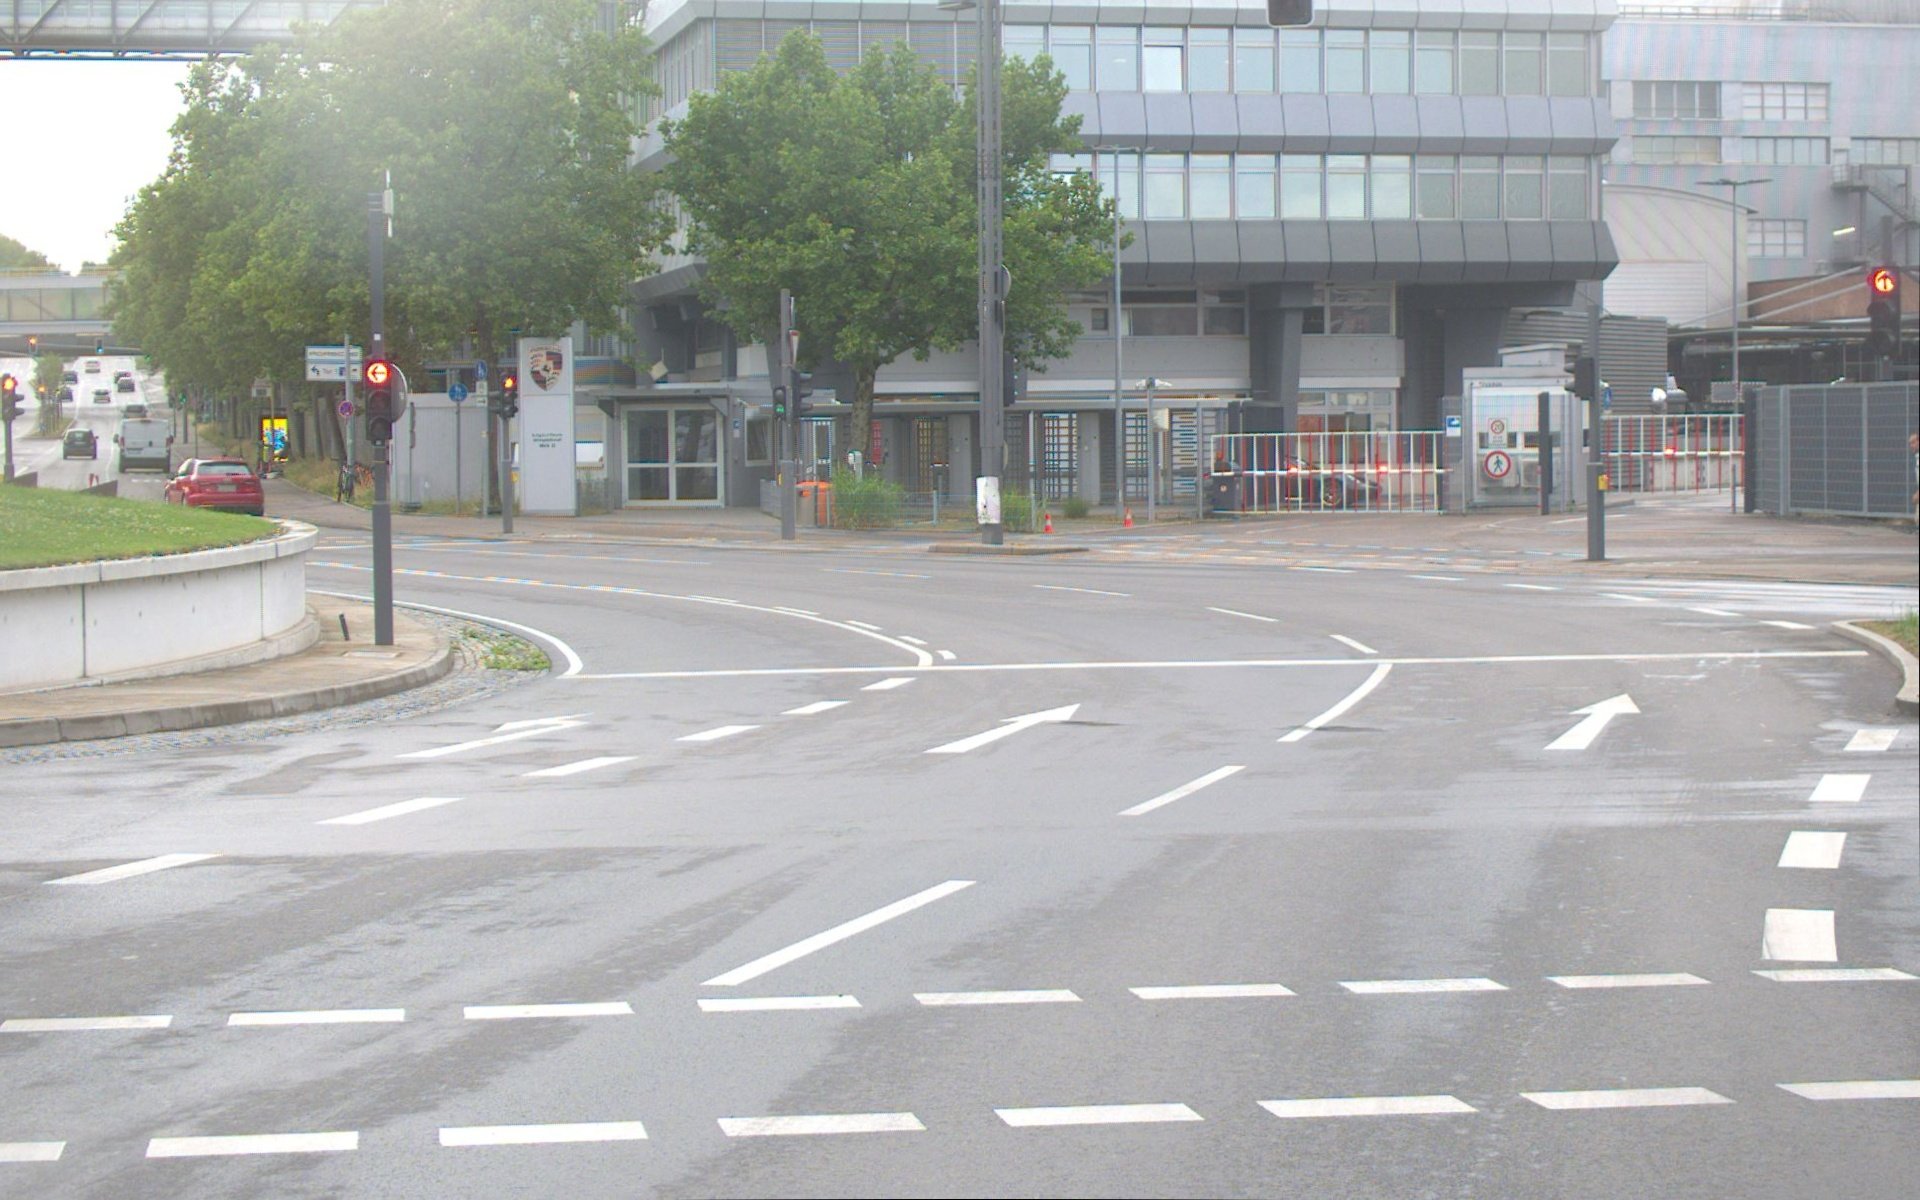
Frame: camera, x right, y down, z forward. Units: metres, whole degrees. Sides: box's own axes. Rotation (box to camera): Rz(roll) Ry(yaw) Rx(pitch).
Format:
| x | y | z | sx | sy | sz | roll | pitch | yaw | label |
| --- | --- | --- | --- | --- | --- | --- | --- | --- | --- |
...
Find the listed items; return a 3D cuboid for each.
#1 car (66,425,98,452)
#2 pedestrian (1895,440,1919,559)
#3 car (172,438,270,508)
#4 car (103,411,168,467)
| x | y | z | sx | sy | sz | roll | pitch | yaw | label |
| --- | --- | --- | --- | --- | --- | --- | --- | --- | --- |
| -44.790 | -8.227 | 175.275 | 1.556 | 1.284 | 3.415 | -1 | 1 | -15 | car |
| 13.099 | -1.357 | 46.540 | 0.808 | 1.605 | 0.769 | -1 | 0 | 17 | pedestrian |
| -16.665 | -2.848 | 77.443 | 1.772 | 1.459 | 3.734 | -1 | 1 | -18 | car |
| -34.310 | -6.669 | 142.960 | 2.232 | 2.100 | 4.956 | -1 | 0 | -18 | car |
